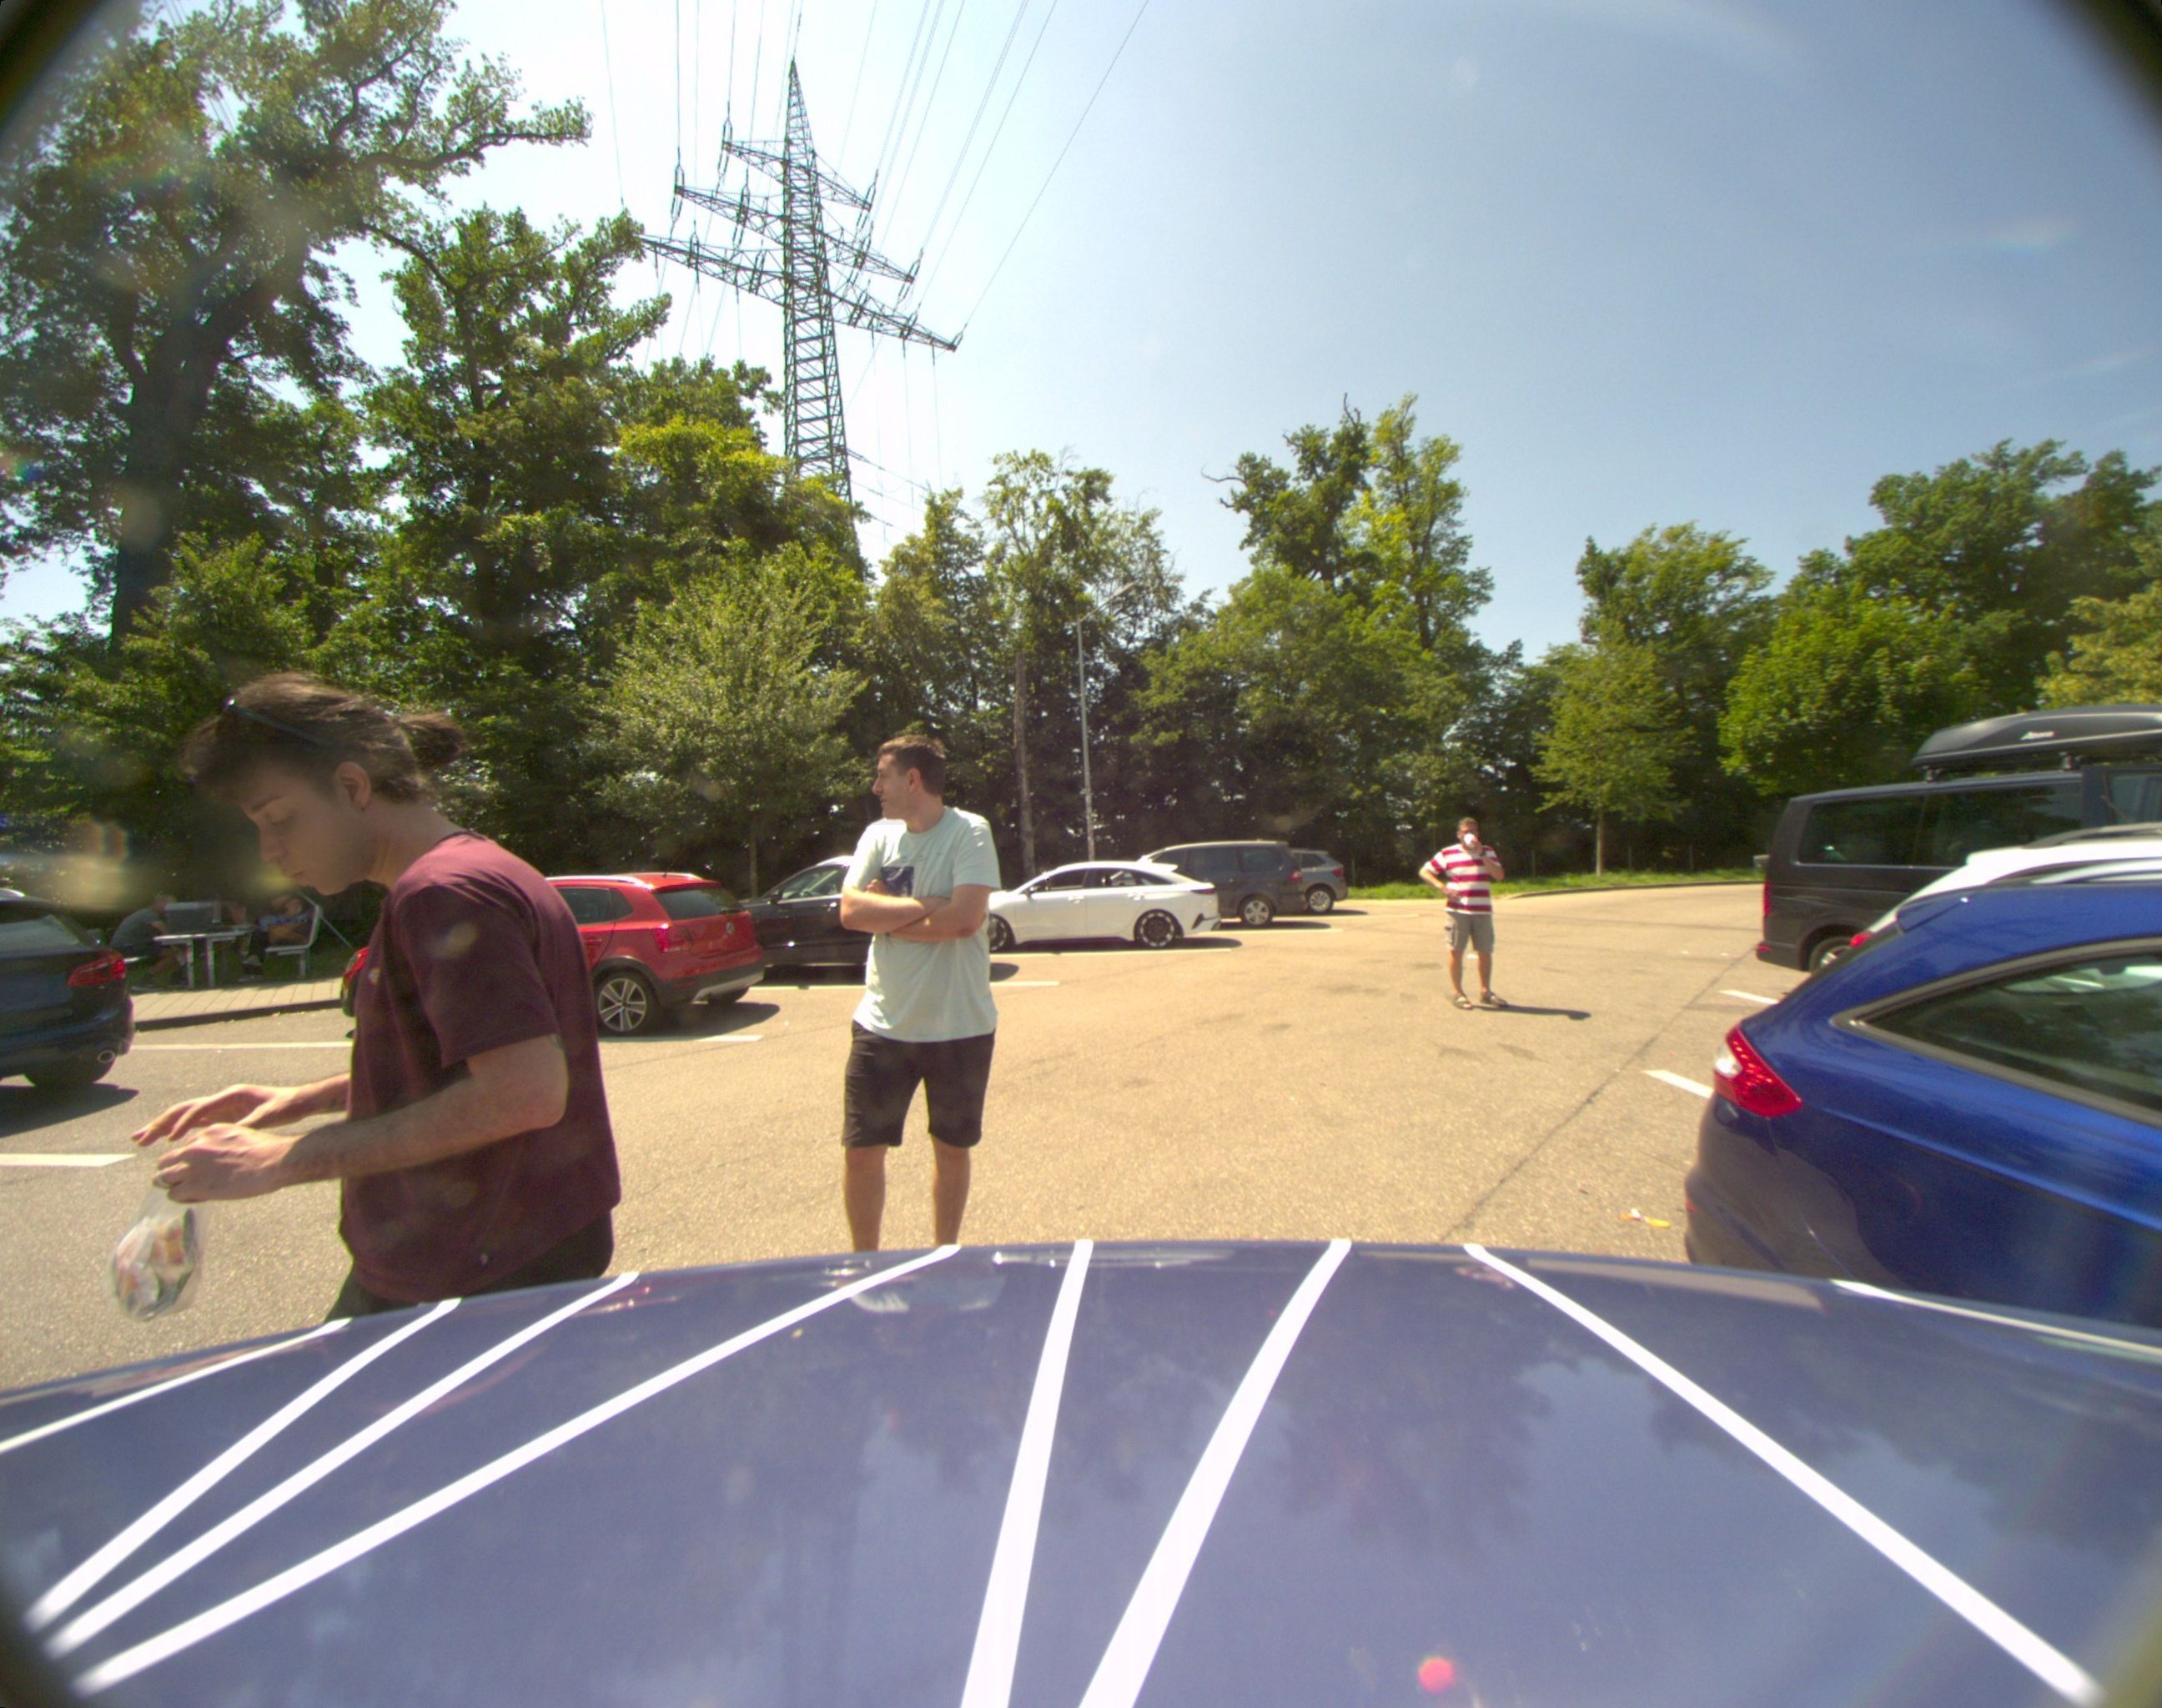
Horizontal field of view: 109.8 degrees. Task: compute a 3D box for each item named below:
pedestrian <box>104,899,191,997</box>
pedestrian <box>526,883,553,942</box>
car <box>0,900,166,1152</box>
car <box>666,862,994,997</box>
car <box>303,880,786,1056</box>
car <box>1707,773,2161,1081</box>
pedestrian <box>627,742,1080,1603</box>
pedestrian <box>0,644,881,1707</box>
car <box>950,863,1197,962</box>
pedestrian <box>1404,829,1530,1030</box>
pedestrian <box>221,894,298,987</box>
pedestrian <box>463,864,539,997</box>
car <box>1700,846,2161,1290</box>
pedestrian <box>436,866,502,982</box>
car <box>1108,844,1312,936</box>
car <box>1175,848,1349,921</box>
[{"bbox_3d":[-12.730,1.268,10.377,0.595,1.238,0.446,-3,1,-33],"label":"pedestrian"},{"bbox_3d":[-11.010,1.186,15.443,0.357,1.158,0.384,-3,2,-41],"label":"pedestrian"},{"bbox_3d":[-9.033,1.171,5.009,4.338,1.544,1.749,-1,1,8],"label":"car"},{"bbox_3d":[-3.251,0.962,10.304,3.825,1.546,1.651,-2,1,4],"label":"car"},{"bbox_3d":[-5.233,1.089,7.675,3.823,1.460,1.651,-2,1,8],"label":"car"},{"bbox_3d":[7.373,0.416,5.289,1.758,1.886,4.571,-3,-1,-9],"label":"car"},{"bbox_3d":[-0.616,0.721,2.292,0.812,1.939,0.922,-2,1,28],"label":"pedestrian"},{"bbox_3d":[-0.970,0.779,1.150,0.812,1.894,0.922,-1,1,32],"label":"pedestrian"},{"bbox_3d":[-0.076,0.933,12.679,3.825,1.394,1.651,-2,1,4],"label":"car"},{"bbox_3d":[3.536,0.661,7.031,0.754,1.744,0.785,-2,1,4],"label":"pedestrian"},{"bbox_3d":[-11.863,1.228,10.991,0.595,1.238,0.499,-3,1,-33],"label":"pedestrian"},{"bbox_3d":[-7.388,0.944,9.677,0.648,1.596,0.571,-3,2,-43],"label":"pedestrian"},{"bbox_3d":[4.645,0.730,2.258,1.757,1.496,4.574,-3,-1,-1],"label":"car"},{"bbox_3d":[-8.863,0.986,11.006,0.648,1.596,0.571,-3,2,-43],"label":"pedestrian"},{"bbox_3d":[2.605,0.712,15.462,3.822,1.686,1.652,-2,1,12],"label":"car"},{"bbox_3d":[4.264,0.708,18.157,3.822,1.551,1.652,-2,1,12],"label":"car"}]
